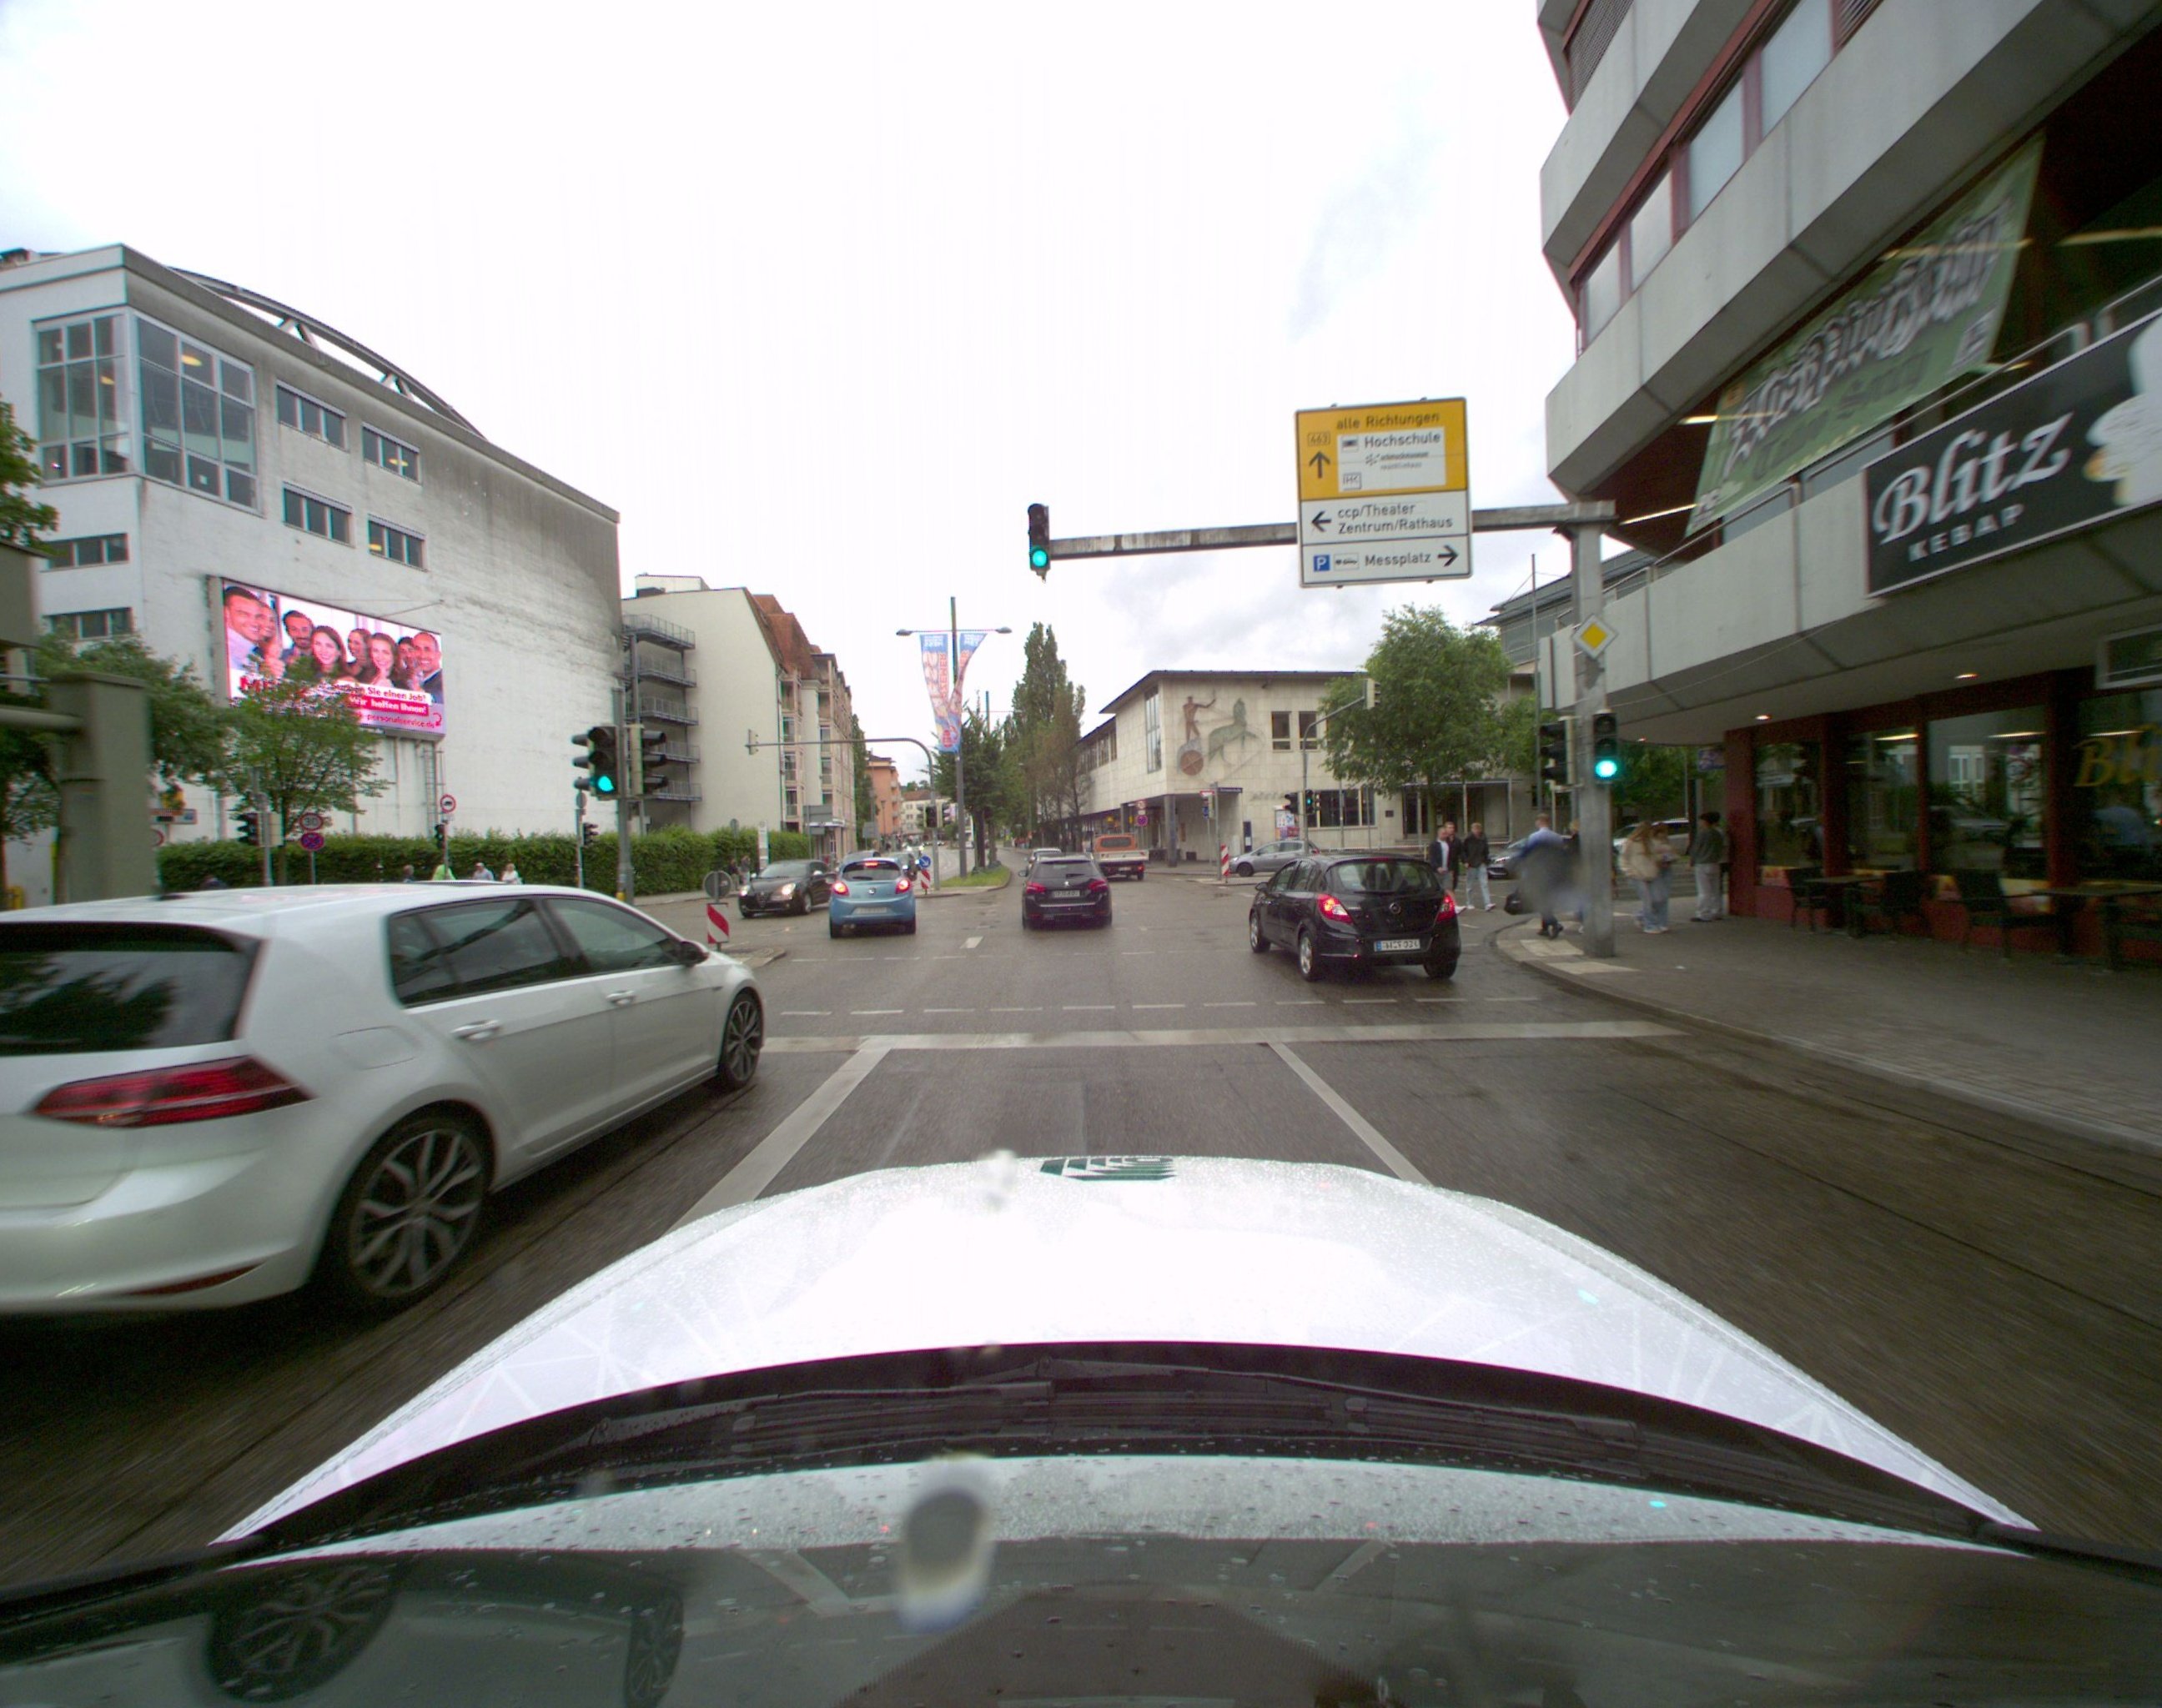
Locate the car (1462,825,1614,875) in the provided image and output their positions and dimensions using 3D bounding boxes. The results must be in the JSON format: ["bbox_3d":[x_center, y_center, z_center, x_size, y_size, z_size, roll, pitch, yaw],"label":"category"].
[{"bbox_3d":[15.052,-0.142,26.895,4.262,1.420,1.781,-3,1,-12],"label":"car"}]

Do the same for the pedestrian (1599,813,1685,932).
[{"bbox_3d":[8.354,0.258,12.165,0.571,1.663,0.941,-4,1,4],"label":"pedestrian"}]

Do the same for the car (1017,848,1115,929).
[{"bbox_3d":[-0.246,0.640,17.141,1.788,1.483,4.001,-1,0,1],"label":"car"}]

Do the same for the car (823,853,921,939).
[{"bbox_3d":[-4.364,0.766,16.833,1.699,1.474,3.670,-2,1,-16],"label":"car"}]

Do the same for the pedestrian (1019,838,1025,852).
[{"bbox_3d":[-7.895,-1.238,108.777,0.654,1.767,0.919,-4,1,-11],"label":"pedestrian"}]

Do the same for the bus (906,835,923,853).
[{"bbox_3d":[-31.802,-1.964,155.329,2.747,3.075,12.186,-2,2,-12],"label":"bus"}]

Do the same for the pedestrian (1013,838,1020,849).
[{"bbox_3d":[-9.101,-1.472,114.707,0.717,1.619,0.766,-4,1,-11],"label":"pedestrian"}]

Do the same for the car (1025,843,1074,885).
[{"bbox_3d":[-1.336,0.356,32.923,1.792,1.483,3.994,-3,1,-5],"label":"car"}]

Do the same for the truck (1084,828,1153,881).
[{"bbox_3d":[1.517,0.011,35.053,2.120,2.025,4.704,-3,0,-7],"label":"truck"}]

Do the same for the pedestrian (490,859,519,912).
[{"bbox_3d":[-19.399,1.053,27.405,0.525,1.764,0.592,1,-1,0],"label":"pedestrian"}]

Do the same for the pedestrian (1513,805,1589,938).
[{"bbox_3d":[6.824,0.252,11.875,0.618,1.847,0.849,-2,-2,8],"label":"pedestrian"}]

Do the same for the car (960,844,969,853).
[{"bbox_3d":[-22.819,-1.011,159.351,1.645,1.564,3.586,0,-2,-11],"label":"car"}]

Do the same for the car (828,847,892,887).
[{"bbox_3d":[-10.622,0.589,39.501,1.821,1.736,4.311,-3,0,1],"label":"car"}]

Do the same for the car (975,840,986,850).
[{"bbox_3d":[-17.647,-1.505,142.681,1.645,1.564,3.586,0,-2,-11],"label":"car"}]

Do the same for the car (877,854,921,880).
[{"bbox_3d":[-11.169,0.770,50.174,1.752,1.420,4.095,-4,0,-1],"label":"car"}]

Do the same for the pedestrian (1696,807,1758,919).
[{"bbox_3d":[10.499,0.145,13.243,0.524,1.763,0.511,-2,-2,2],"label":"pedestrian"}]

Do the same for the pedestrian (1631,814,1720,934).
[{"bbox_3d":[8.938,0.280,12.282,0.586,1.706,0.972,-4,1,4],"label":"pedestrian"}]

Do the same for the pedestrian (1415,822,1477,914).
[{"bbox_3d":[7.316,0.279,16.360,0.746,1.779,0.887,-2,-1,-2],"label":"pedestrian"}]

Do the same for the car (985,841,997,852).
[{"bbox_3d":[-13.994,-1.152,126.854,1.645,1.564,3.586,0,-2,-11],"label":"car"}]

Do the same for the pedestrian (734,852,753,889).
[{"bbox_3d":[-16.512,0.809,39.884,0.640,1.765,0.592,-2,-2,-2],"label":"pedestrian"}]

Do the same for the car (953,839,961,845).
[{"bbox_3d":[-35.902,-3.563,235.292,1.996,1.683,3.982,-3,1,-13],"label":"car"}]

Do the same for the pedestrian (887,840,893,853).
[{"bbox_3d":[-28.284,-1.090,120.647,0.796,1.794,0.810,-2,0,-9],"label":"pedestrian"}]

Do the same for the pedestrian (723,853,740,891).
[{"bbox_3d":[-16.345,0.839,38.097,0.525,1.765,0.630,-2,-2,-2],"label":"pedestrian"}]

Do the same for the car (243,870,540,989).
[{"bbox_3d":[-11.114,1.115,13.522,1.666,1.515,3.644,-4,0,1],"label":"car"}]

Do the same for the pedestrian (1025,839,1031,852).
[{"bbox_3d":[-7.093,-1.143,108.857,0.698,1.801,0.604,-4,1,-11],"label":"pedestrian"}]

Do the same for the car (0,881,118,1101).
[{"bbox_3d":[-8.276,0.994,4.230,1.707,1.478,3.958,-4,-1,1],"label":"car"}]

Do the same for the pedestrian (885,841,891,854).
[{"bbox_3d":[-26.108,-0.864,110.091,0.698,1.794,0.956,-2,0,-8],"label":"pedestrian"}]

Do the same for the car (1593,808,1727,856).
[{"bbox_3d":[24.552,-0.925,34.604,4.591,1.759,1.851,-3,0,-8],"label":"car"}]

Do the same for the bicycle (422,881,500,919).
[{"bbox_3d":[-21.310,1.558,28.051,0.645,1.110,2.069,-2,1,21],"label":"bicycle"}]

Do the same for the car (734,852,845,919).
[{"bbox_3d":[-7.800,0.783,22.128,1.617,1.555,3.659,-3,1,0],"label":"car"}]

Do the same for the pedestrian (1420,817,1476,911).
[{"bbox_3d":[7.766,0.215,17.248,0.755,1.901,0.790,-3,-1,1],"label":"pedestrian"}]

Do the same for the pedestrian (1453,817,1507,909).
[{"bbox_3d":[8.492,0.192,17.356,0.730,1.895,0.676,-2,-1,0],"label":"pedestrian"}]

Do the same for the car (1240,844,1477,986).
[{"bbox_3d":[3.326,0.627,10.538,1.703,1.457,3.740,-1,1,-1],"label":"car"}]

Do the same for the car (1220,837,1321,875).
[{"bbox_3d":[7.947,0.074,34.241,3.959,1.477,2.007,-1,0,13],"label":"car"}]

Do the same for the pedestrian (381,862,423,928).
[{"bbox_3d":[-18.524,1.118,22.223,0.645,1.765,0.592,-2,-2,-3],"label":"pedestrian"}]

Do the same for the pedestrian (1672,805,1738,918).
[{"bbox_3d":[9.929,0.121,12.978,0.593,1.763,0.493,-2,-2,2],"label":"pedestrian"}]

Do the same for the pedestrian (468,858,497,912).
[{"bbox_3d":[-20.124,1.034,27.375,0.525,1.764,0.592,0,1,0],"label":"pedestrian"}]

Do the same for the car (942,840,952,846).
[{"bbox_3d":[-40.519,-3.352,245.541,1.657,1.564,3.561,1,-2,-35],"label":"car"}]

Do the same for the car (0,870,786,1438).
[{"bbox_3d":[-3.121,0.827,4.109,1.759,1.409,4.000,-1,0,0],"label":"car"}]

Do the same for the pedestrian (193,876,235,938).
[{"bbox_3d":[-25.438,1.546,23.899,0.799,1.781,0.645,0,-3,-42],"label":"pedestrian"}]

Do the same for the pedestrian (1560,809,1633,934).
[{"bbox_3d":[7.593,0.258,12.028,0.618,1.773,0.678,-2,-2,8],"label":"pedestrian"}]
